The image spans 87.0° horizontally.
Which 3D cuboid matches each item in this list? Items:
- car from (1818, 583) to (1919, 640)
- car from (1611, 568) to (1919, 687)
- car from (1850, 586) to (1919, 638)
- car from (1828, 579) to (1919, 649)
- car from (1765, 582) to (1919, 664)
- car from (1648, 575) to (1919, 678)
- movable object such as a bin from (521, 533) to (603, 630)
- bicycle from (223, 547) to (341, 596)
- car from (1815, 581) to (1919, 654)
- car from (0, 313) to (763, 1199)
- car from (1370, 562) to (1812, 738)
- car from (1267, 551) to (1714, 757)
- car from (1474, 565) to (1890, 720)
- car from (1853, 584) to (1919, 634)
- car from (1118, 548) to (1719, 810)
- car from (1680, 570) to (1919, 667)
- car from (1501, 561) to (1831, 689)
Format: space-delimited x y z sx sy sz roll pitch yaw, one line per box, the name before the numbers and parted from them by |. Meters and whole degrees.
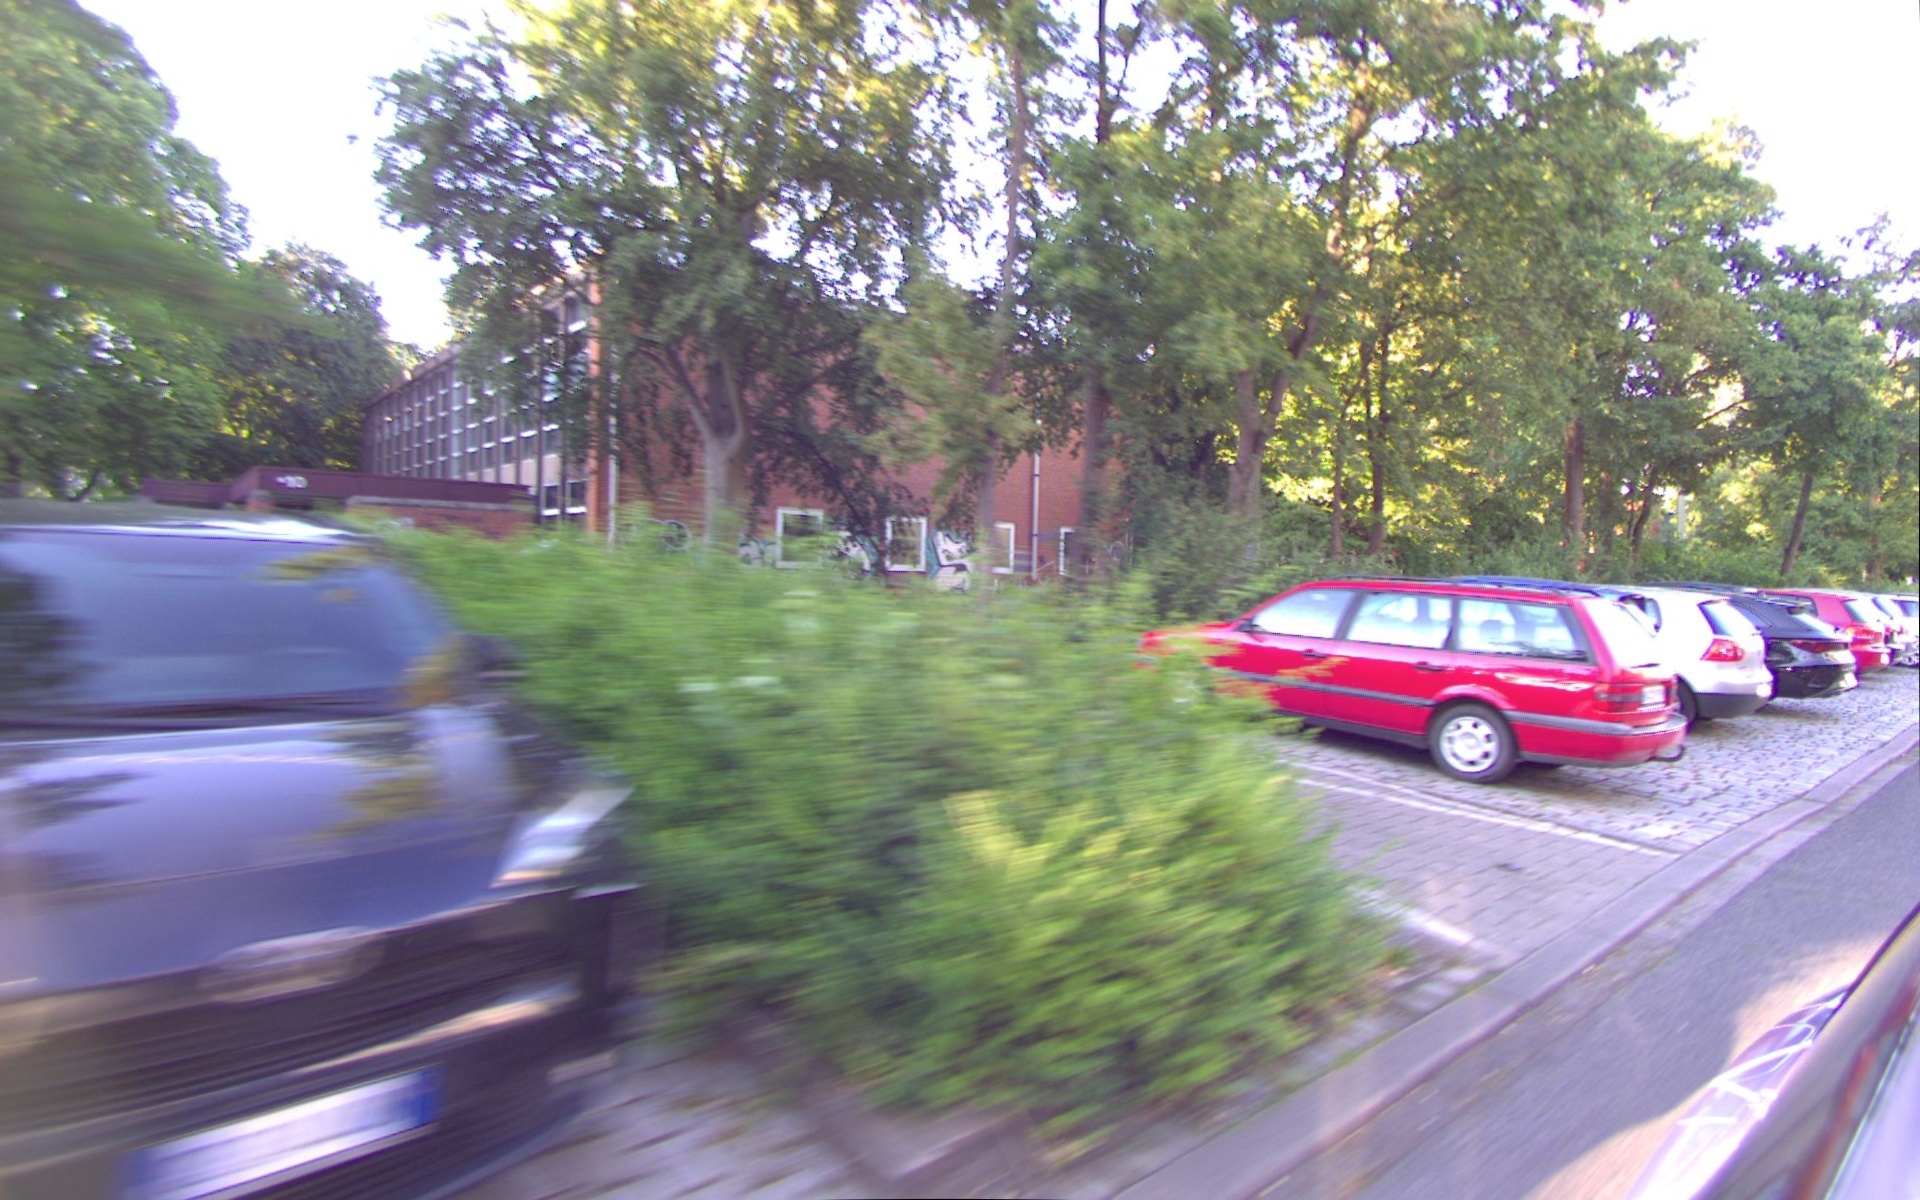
car | 27.542 0.348 29.669 1.642 1.544 3.393 0 3 -40
car | 13.435 0.366 16.957 1.725 1.492 3.819 1 5 -39
car | 29.721 0.364 30.901 1.642 1.559 3.635 0 1 -39
car | 23.567 0.417 24.481 1.643 1.543 3.618 0 5 -41
car | 19.579 0.474 21.447 1.705 1.571 3.673 0 3 -41
car | 15.235 0.393 18.707 1.725 1.411 3.760 -1 6 -39
movable object such as a bin | -6.260 -0.296 15.899 0.966 1.456 0.965 0 2 -37
bicycle | -16.646 -0.683 24.886 2.344 1.152 0.649 0 2 -39
car | 21.926 0.459 22.895 1.705 1.462 3.675 0 5 -41
car | -2.268 0.393 2.936 1.668 1.614 3.750 0 1 -42
car | 7.139 0.421 11.808 1.798 1.471 3.937 0 5 -38
car | 5.361 0.388 10.563 1.713 1.574 3.718 -1 5 -43
car | 9.382 0.410 13.438 1.800 1.492 4.130 0 5 -41
car | 31.521 0.338 32.550 1.709 1.530 3.958 0 3 -40
car | 3.639 0.443 8.750 1.711 1.493 4.348 1 4 -41
car | 17.119 0.288 20.483 1.788 1.516 3.736 -1 6 -39
car | 10.921 0.283 15.880 1.798 1.492 3.820 0 5 -38
